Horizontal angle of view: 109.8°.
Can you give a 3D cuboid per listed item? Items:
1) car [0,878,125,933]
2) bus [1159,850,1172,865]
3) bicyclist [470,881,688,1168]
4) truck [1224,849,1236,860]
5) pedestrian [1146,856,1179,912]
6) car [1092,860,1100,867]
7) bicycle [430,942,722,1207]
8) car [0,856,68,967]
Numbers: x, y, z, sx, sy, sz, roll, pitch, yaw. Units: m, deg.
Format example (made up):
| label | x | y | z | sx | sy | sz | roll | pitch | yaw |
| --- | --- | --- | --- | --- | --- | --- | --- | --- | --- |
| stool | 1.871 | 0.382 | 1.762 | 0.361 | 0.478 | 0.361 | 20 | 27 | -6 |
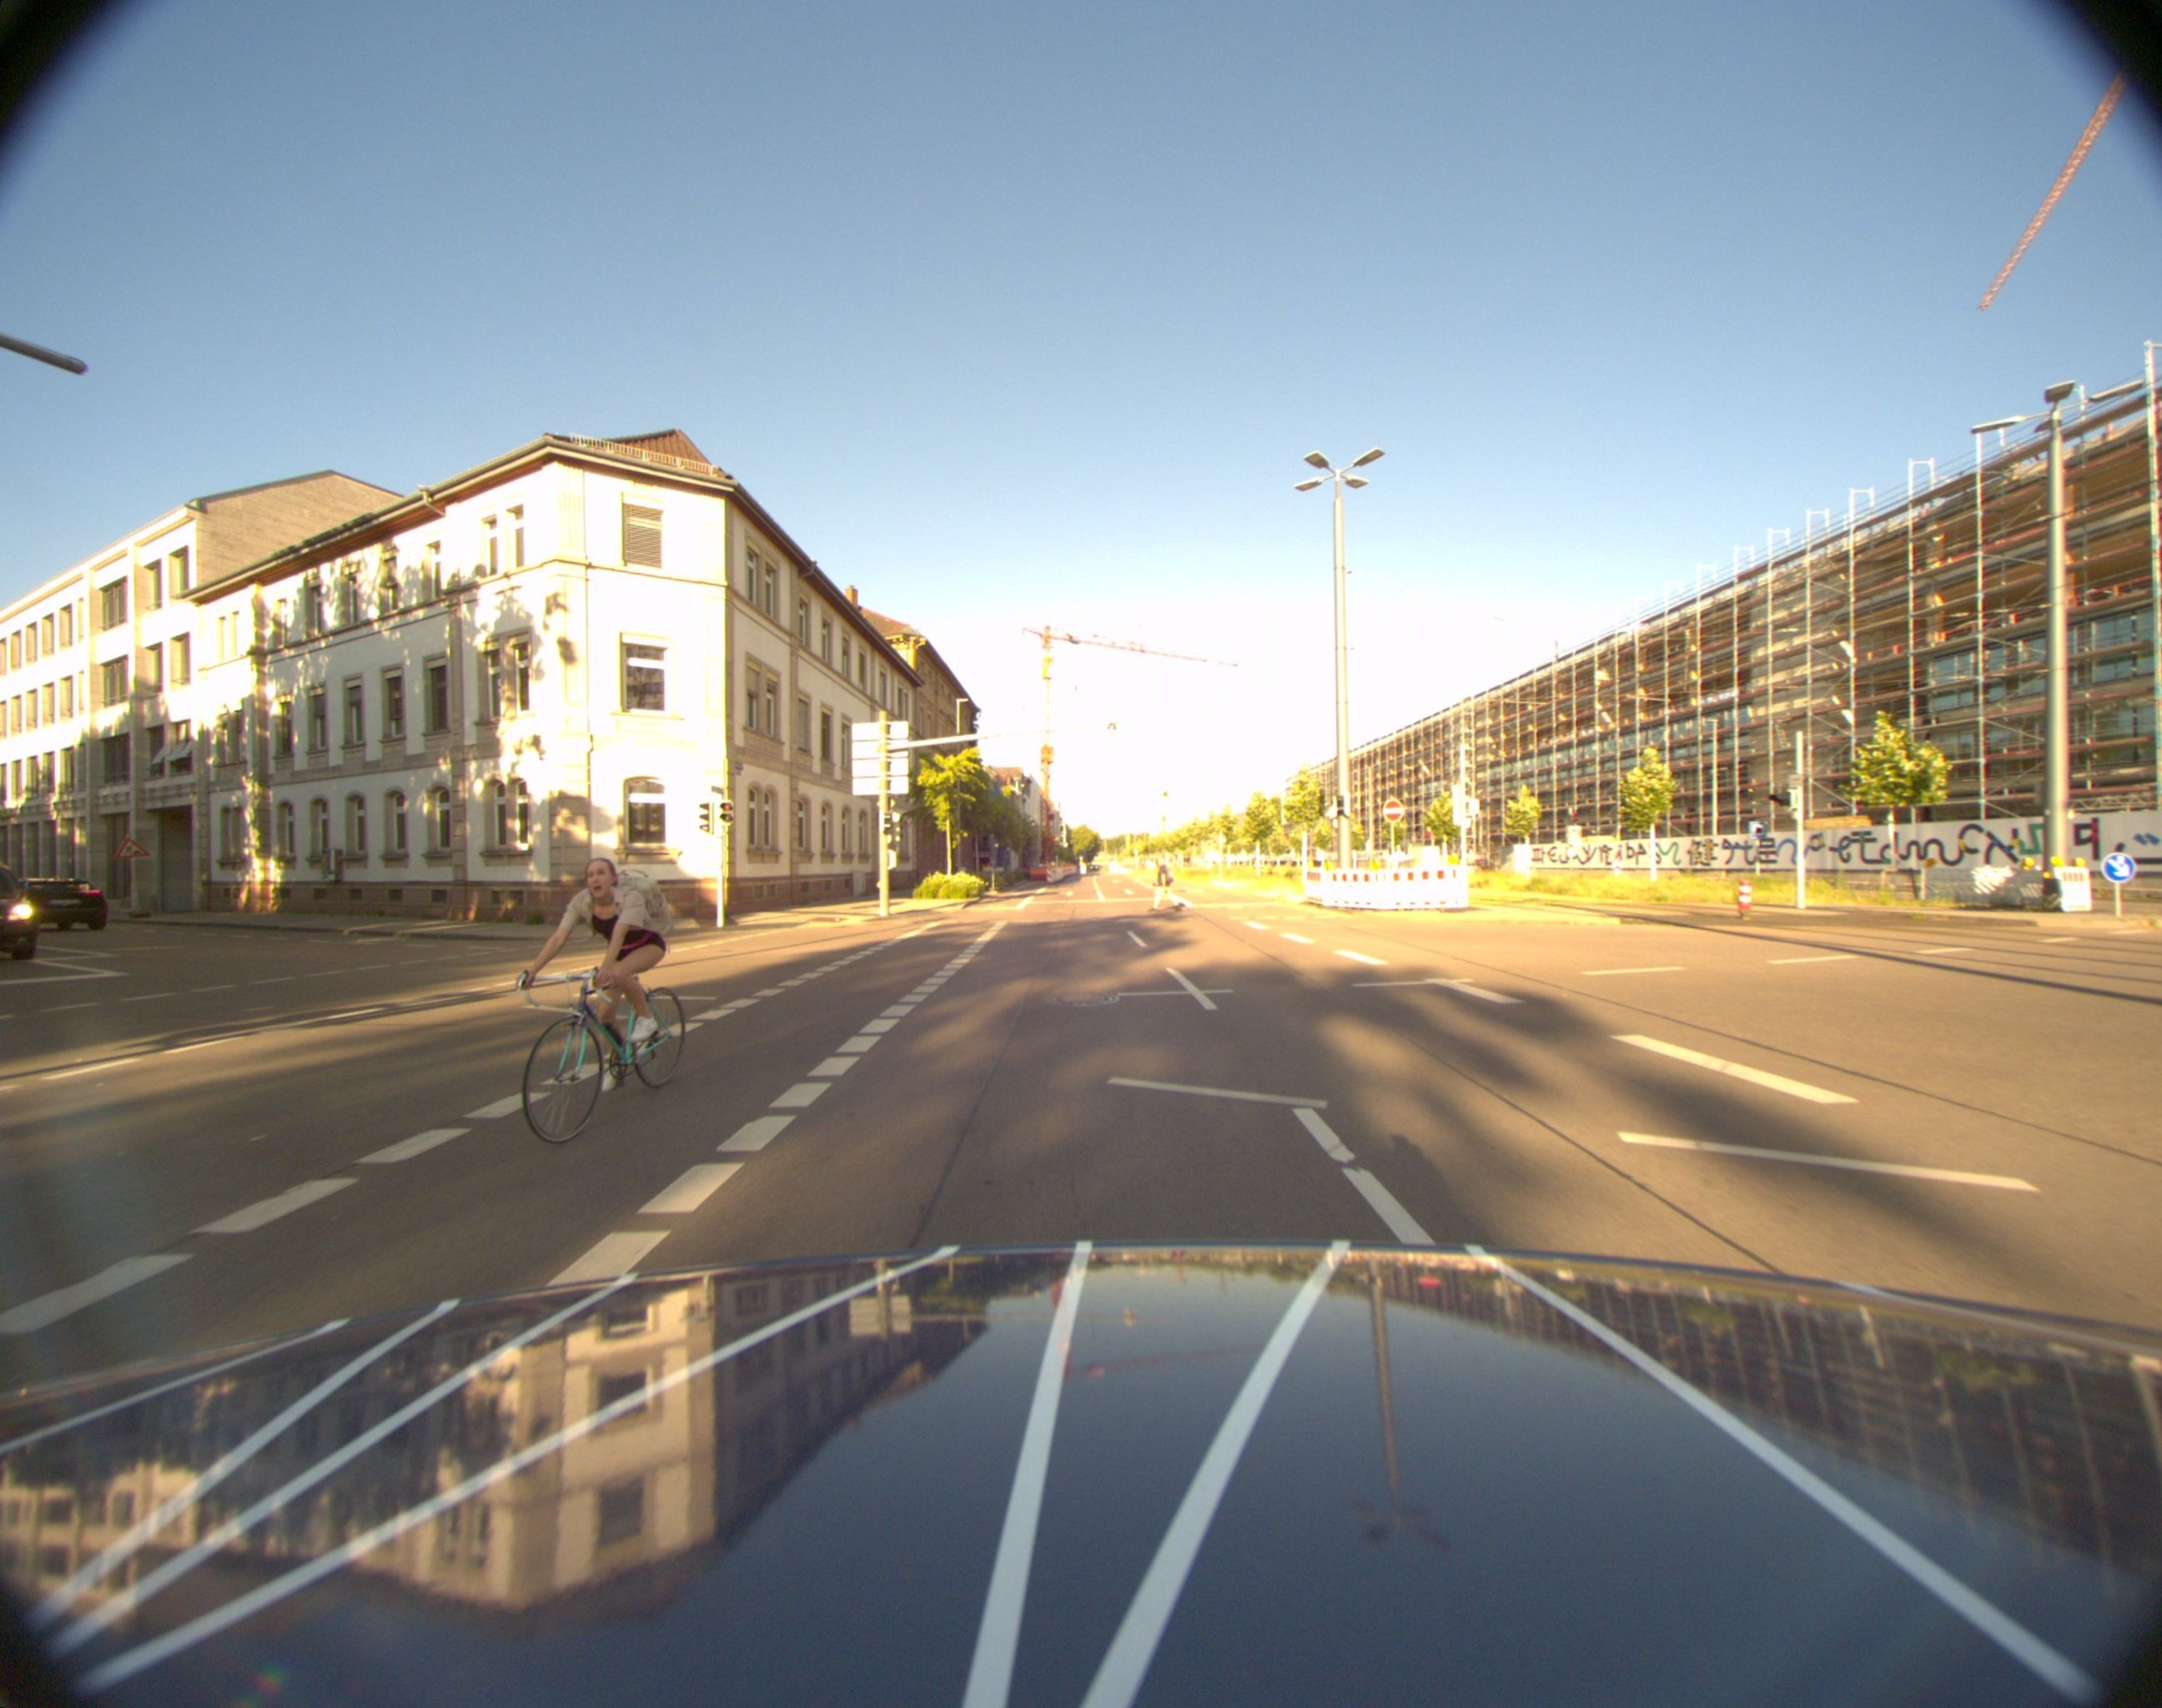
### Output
| label | x | y | z | sx | sy | sz | roll | pitch | yaw |
| --- | --- | --- | --- | --- | --- | --- | --- | --- | --- |
| car | -30.481 | 1.481 | 22.478 | 4.048 | 1.518 | 1.907 | -1 | -2 | 26 |
| bus | 18.865 | 0.764 | 169.086 | 2.722 | 3.203 | 8.660 | -1 | 0 | 6 |
| bicyclist | -2.918 | 0.915 | 4.534 | 0.553 | 1.482 | 1.081 | -1 | 0 | 1 |
| truck | 35.370 | 0.095 | 180.820 | 2.143 | 2.558 | 4.741 | -1 | 0 | 3 |
| pedestrian | 2.432 | 0.871 | 22.599 | 0.926 | 1.639 | 0.766 | -1 | 0 | 8 |
| car | 3.941 | 2.420 | 195.306 | 1.998 | 1.696 | 4.000 | -1 | 0 | 1 |
| bicycle | -2.935 | 1.199 | 4.679 | 0.522 | 1.091 | 1.842 | -1 | 0 | 1 |
| car | -19.594 | 0.950 | 12.966 | 4.237 | 1.794 | 1.953 | -1 | -2 | 26 |
